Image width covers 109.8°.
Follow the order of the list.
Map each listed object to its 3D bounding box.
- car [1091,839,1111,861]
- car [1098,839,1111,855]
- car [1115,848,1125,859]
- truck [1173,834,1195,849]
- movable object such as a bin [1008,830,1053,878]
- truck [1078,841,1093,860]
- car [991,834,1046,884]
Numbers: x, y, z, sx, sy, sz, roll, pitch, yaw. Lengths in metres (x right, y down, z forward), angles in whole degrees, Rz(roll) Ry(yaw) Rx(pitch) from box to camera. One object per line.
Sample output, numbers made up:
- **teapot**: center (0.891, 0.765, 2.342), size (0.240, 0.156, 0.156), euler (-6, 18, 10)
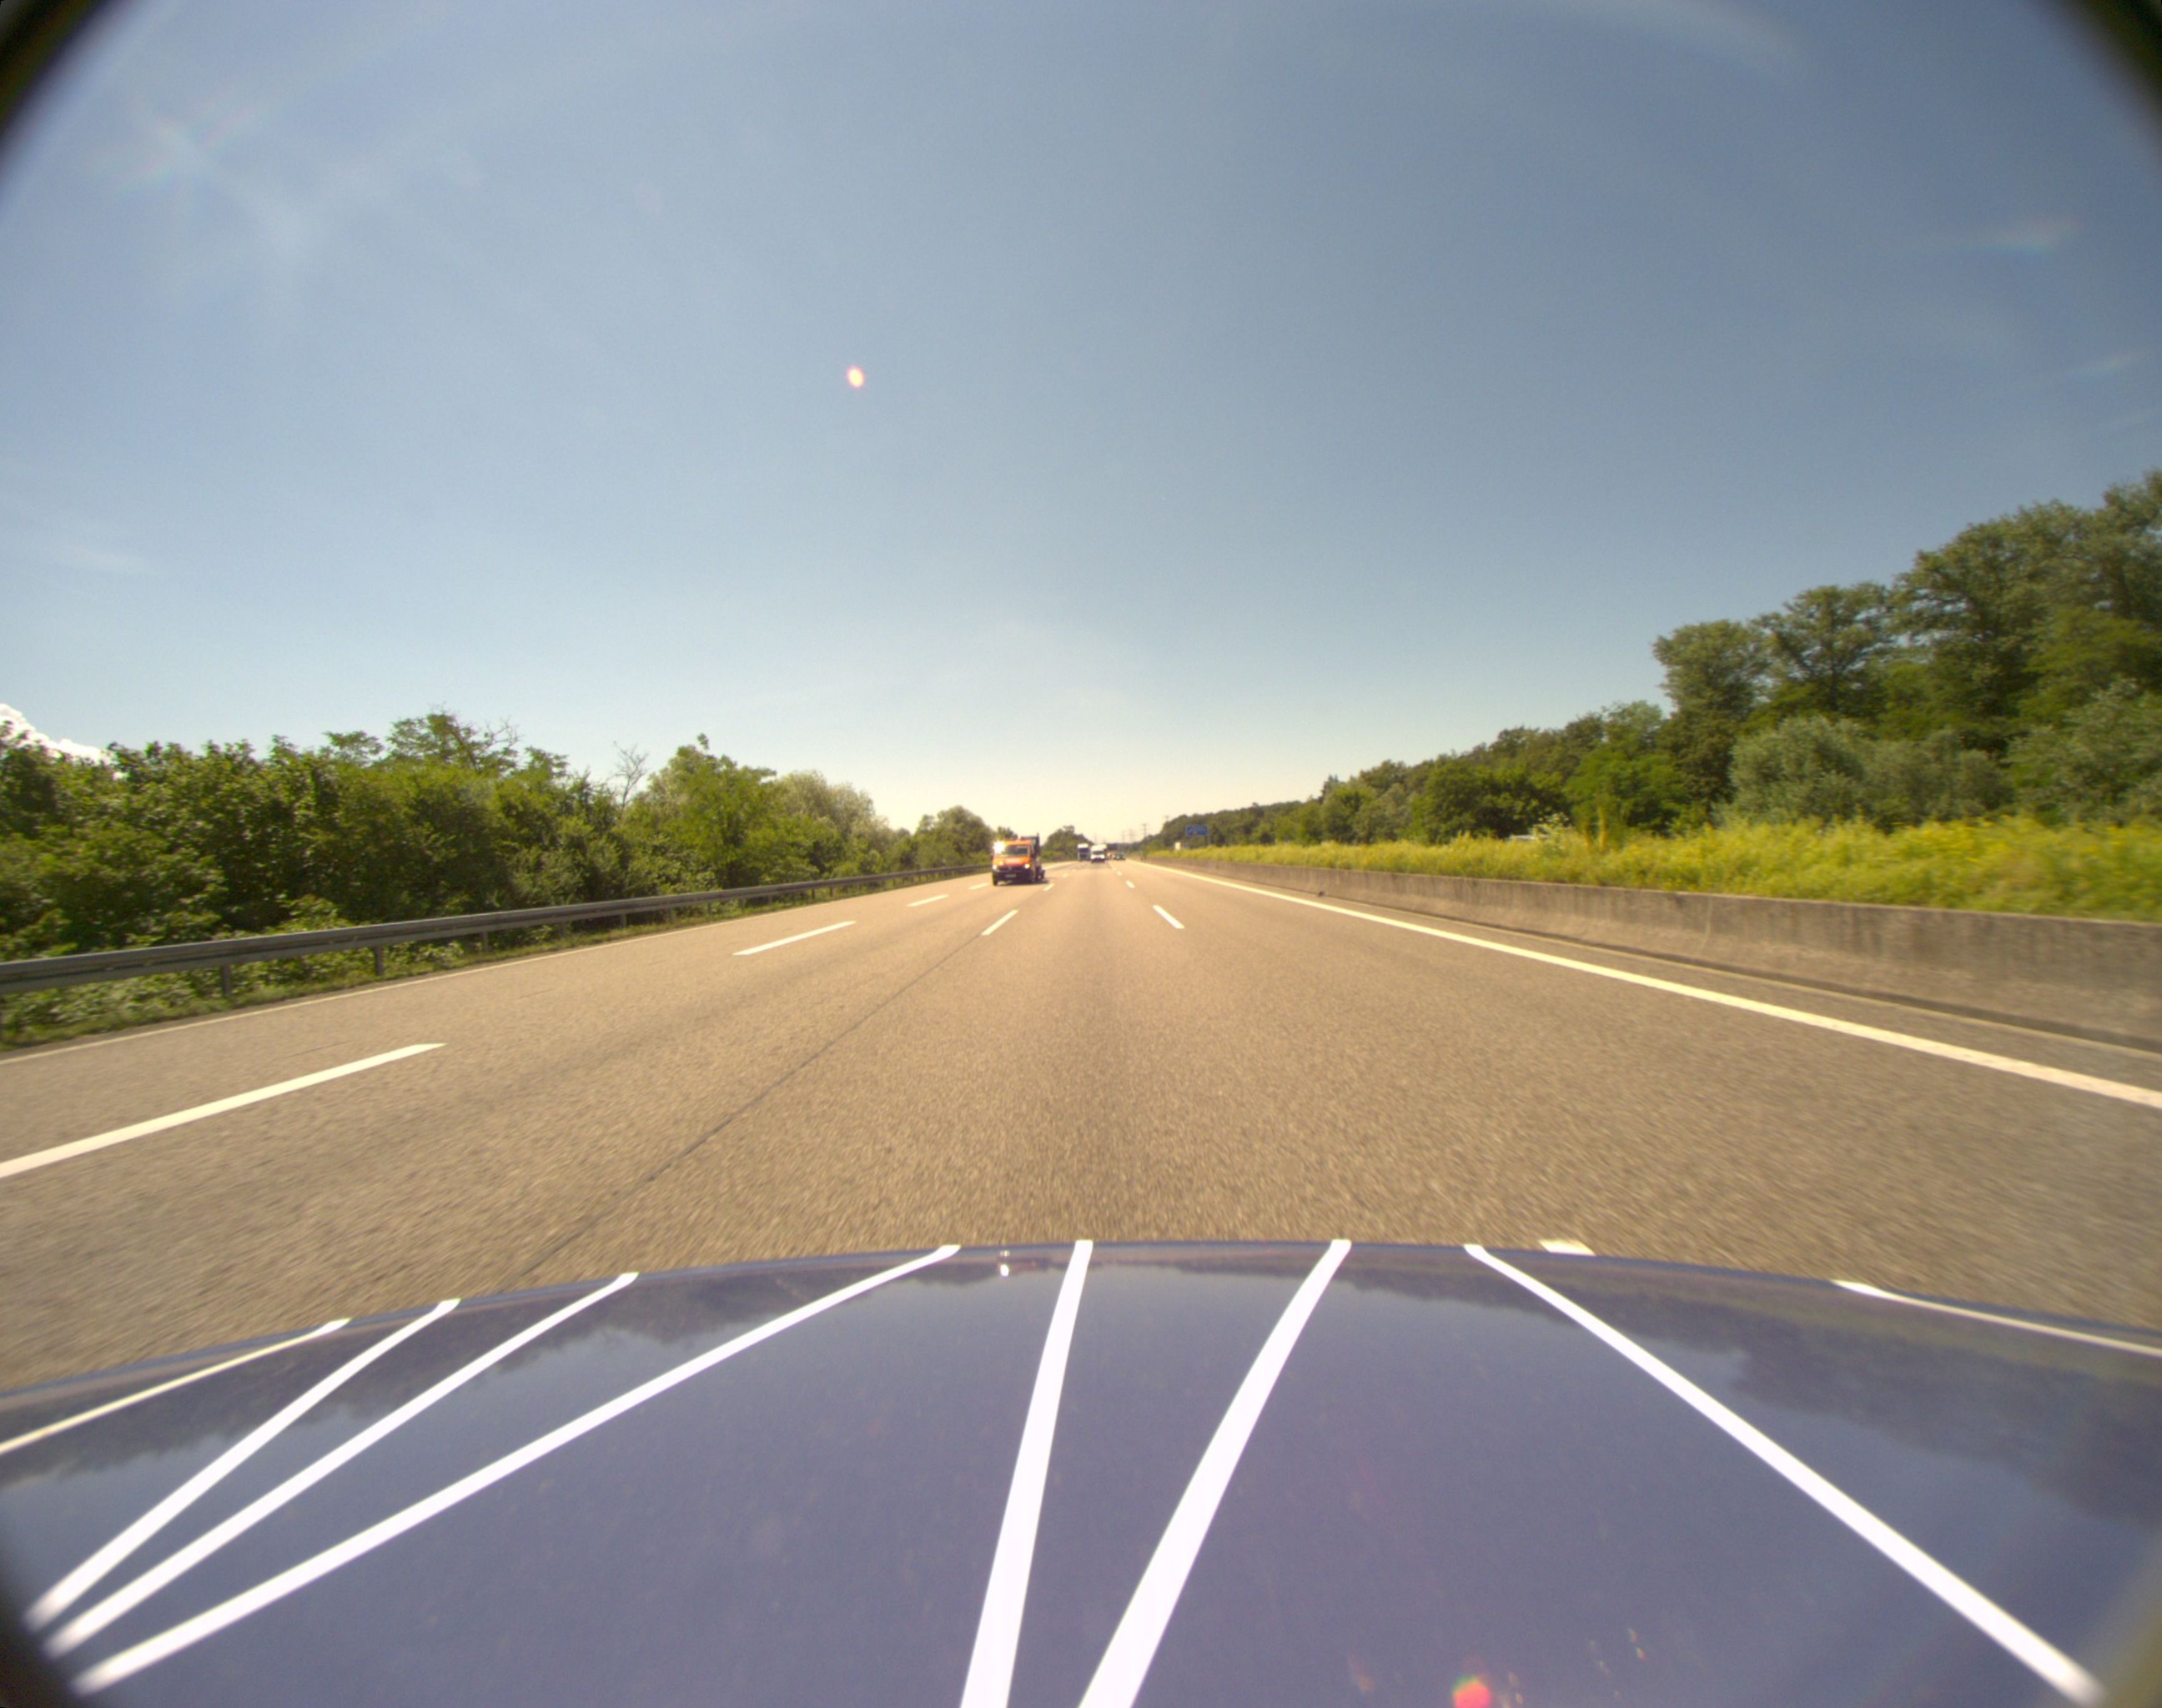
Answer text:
- **car**: center (2.992, -0.571, 113.165), size (2.521, 2.857, 6.401), euler (-5, 0, 4)
- **car**: center (6.055, -1.835, 196.546), size (2.797, 4.090, 7.305), euler (-2, 1, 0)
- **car**: center (8.127, -0.109, 158.565), size (1.998, 2.001, 4.001), euler (-2, -1, 1)
- **truck**: center (27.798, -3.256, 206.000), size (3.607, 3.713, 17.486), euler (-2, 0, 1)
- **movable object such as a bin**: center (-3.125, 0.024, 47.816), size (2.179, 2.799, 4.762), euler (-3, 0, 3)
- **truck**: center (1.177, -0.850, 181.748), size (2.990, 4.187, 7.595), euler (-3, 0, 4)
- **car**: center (-3.301, 0.262, 41.738), size (1.998, 2.391, 7.227), euler (-3, 0, 3)
